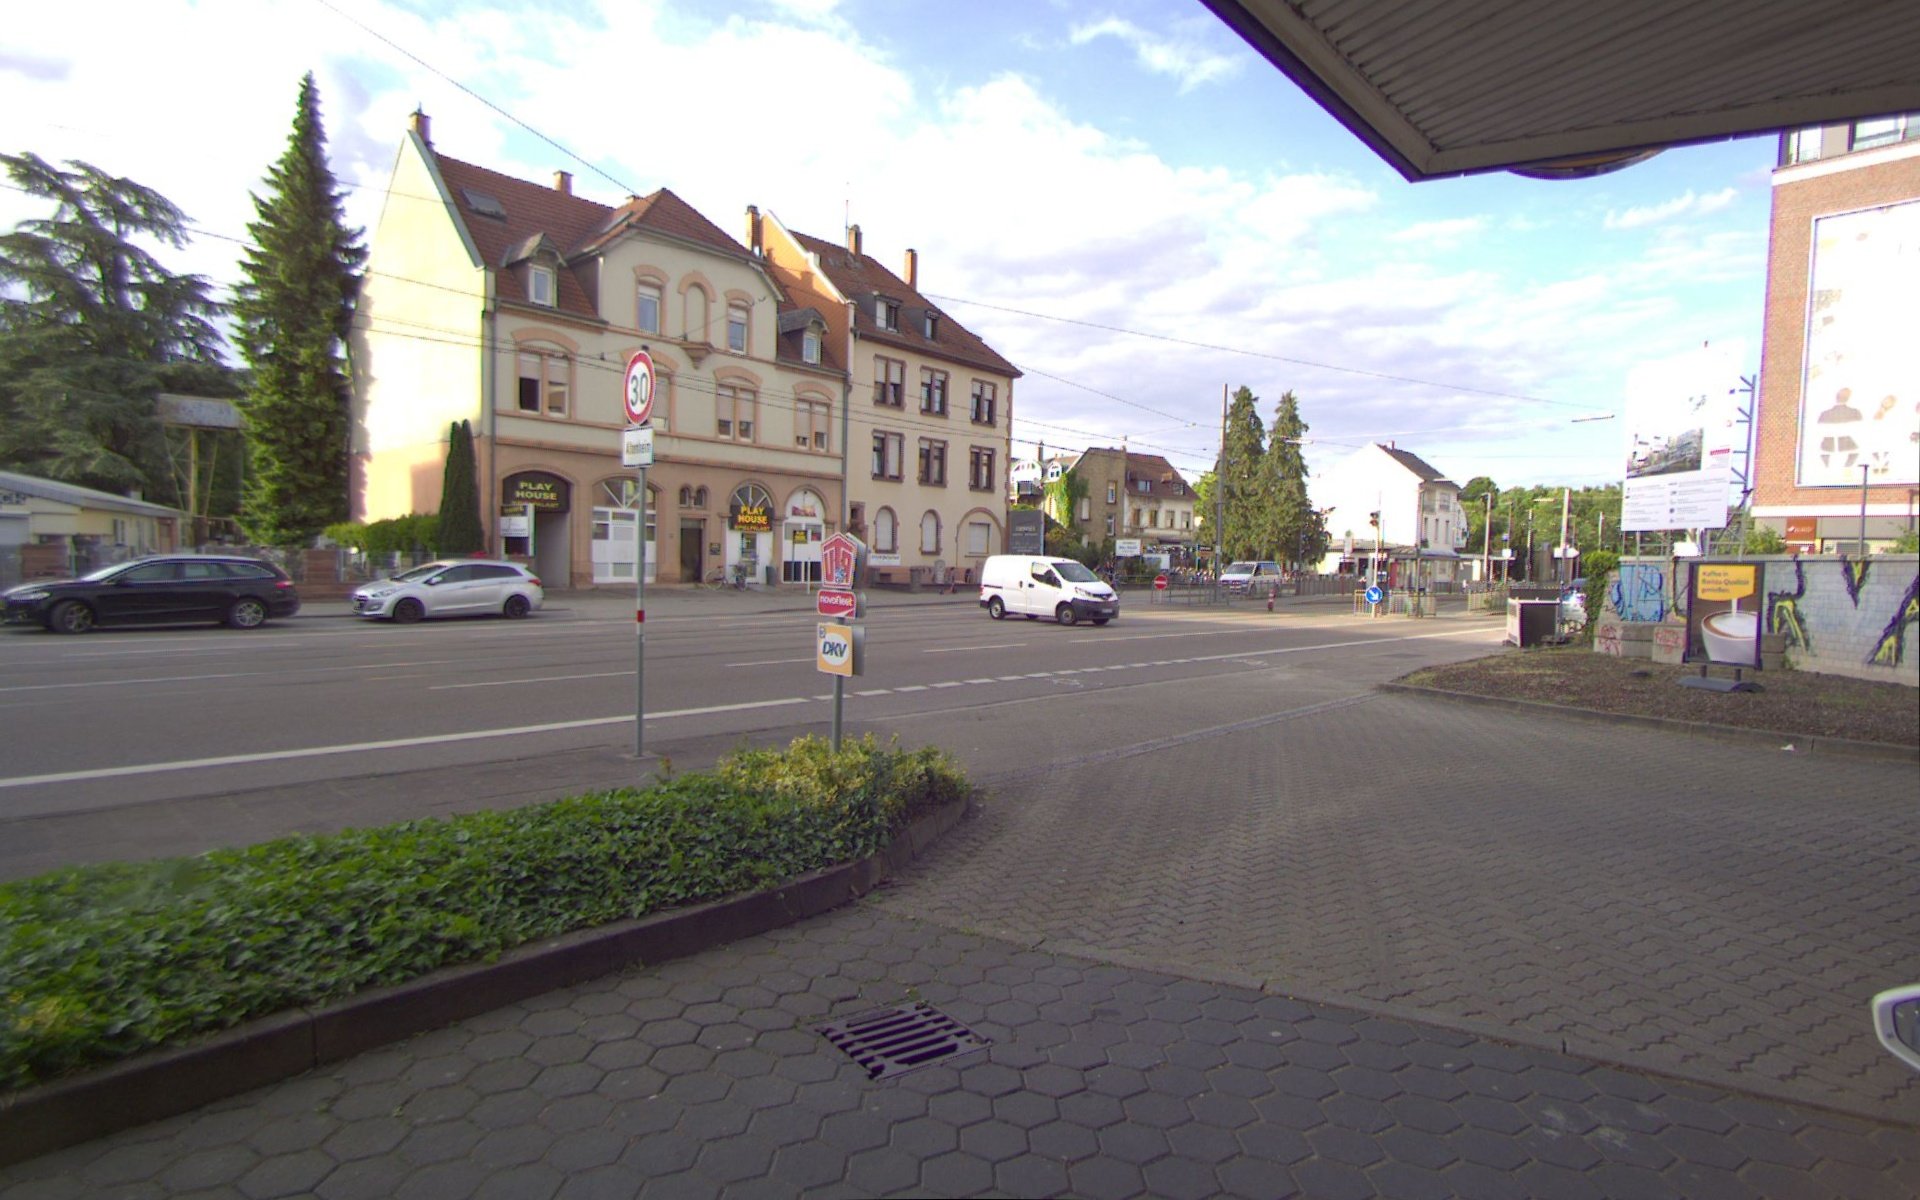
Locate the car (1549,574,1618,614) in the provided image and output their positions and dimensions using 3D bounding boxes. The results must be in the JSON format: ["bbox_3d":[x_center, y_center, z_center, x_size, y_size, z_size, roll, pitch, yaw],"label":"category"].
[{"bbox_3d":[29.015,-0.283,46.652,1.745,1.679,4.822,5,4,43],"label":"car"}]

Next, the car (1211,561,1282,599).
[{"bbox_3d":[15.906,-1.136,55.653,1.970,1.995,4.865,3,3,40],"label":"car"}]

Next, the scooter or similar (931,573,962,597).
[{"bbox_3d":[-0.593,-0.687,45.142,0.488,1.015,1.592,5,5,39],"label":"scooter or similar"}]

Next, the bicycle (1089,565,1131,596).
[{"bbox_3d":[7.908,-1.044,53.046,1.962,1.512,0.785,2,4,-21],"label":"bicycle"}]

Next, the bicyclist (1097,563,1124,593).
[{"bbox_3d":[7.961,-1.178,53.056,1.079,1.512,0.785,2,4,-20],"label":"bicyclist"}]

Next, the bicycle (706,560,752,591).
[{"bbox_3d":[-9.138,-0.953,39.715,0.508,1.189,1.809,4,2,40],"label":"bicycle"}]

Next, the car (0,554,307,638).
[{"bbox_3d":[-16.564,-0.146,20.737,1.970,1.516,4.801,3,3,40],"label":"car"}]

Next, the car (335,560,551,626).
[{"bbox_3d":[-12.996,-0.244,25.470,1.970,1.495,4.467,3,3,40],"label":"car"}]

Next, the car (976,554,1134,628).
[{"bbox_3d":[2.642,-0.313,28.836,1.953,1.915,4.358,0,3,-41],"label":"car"}]
